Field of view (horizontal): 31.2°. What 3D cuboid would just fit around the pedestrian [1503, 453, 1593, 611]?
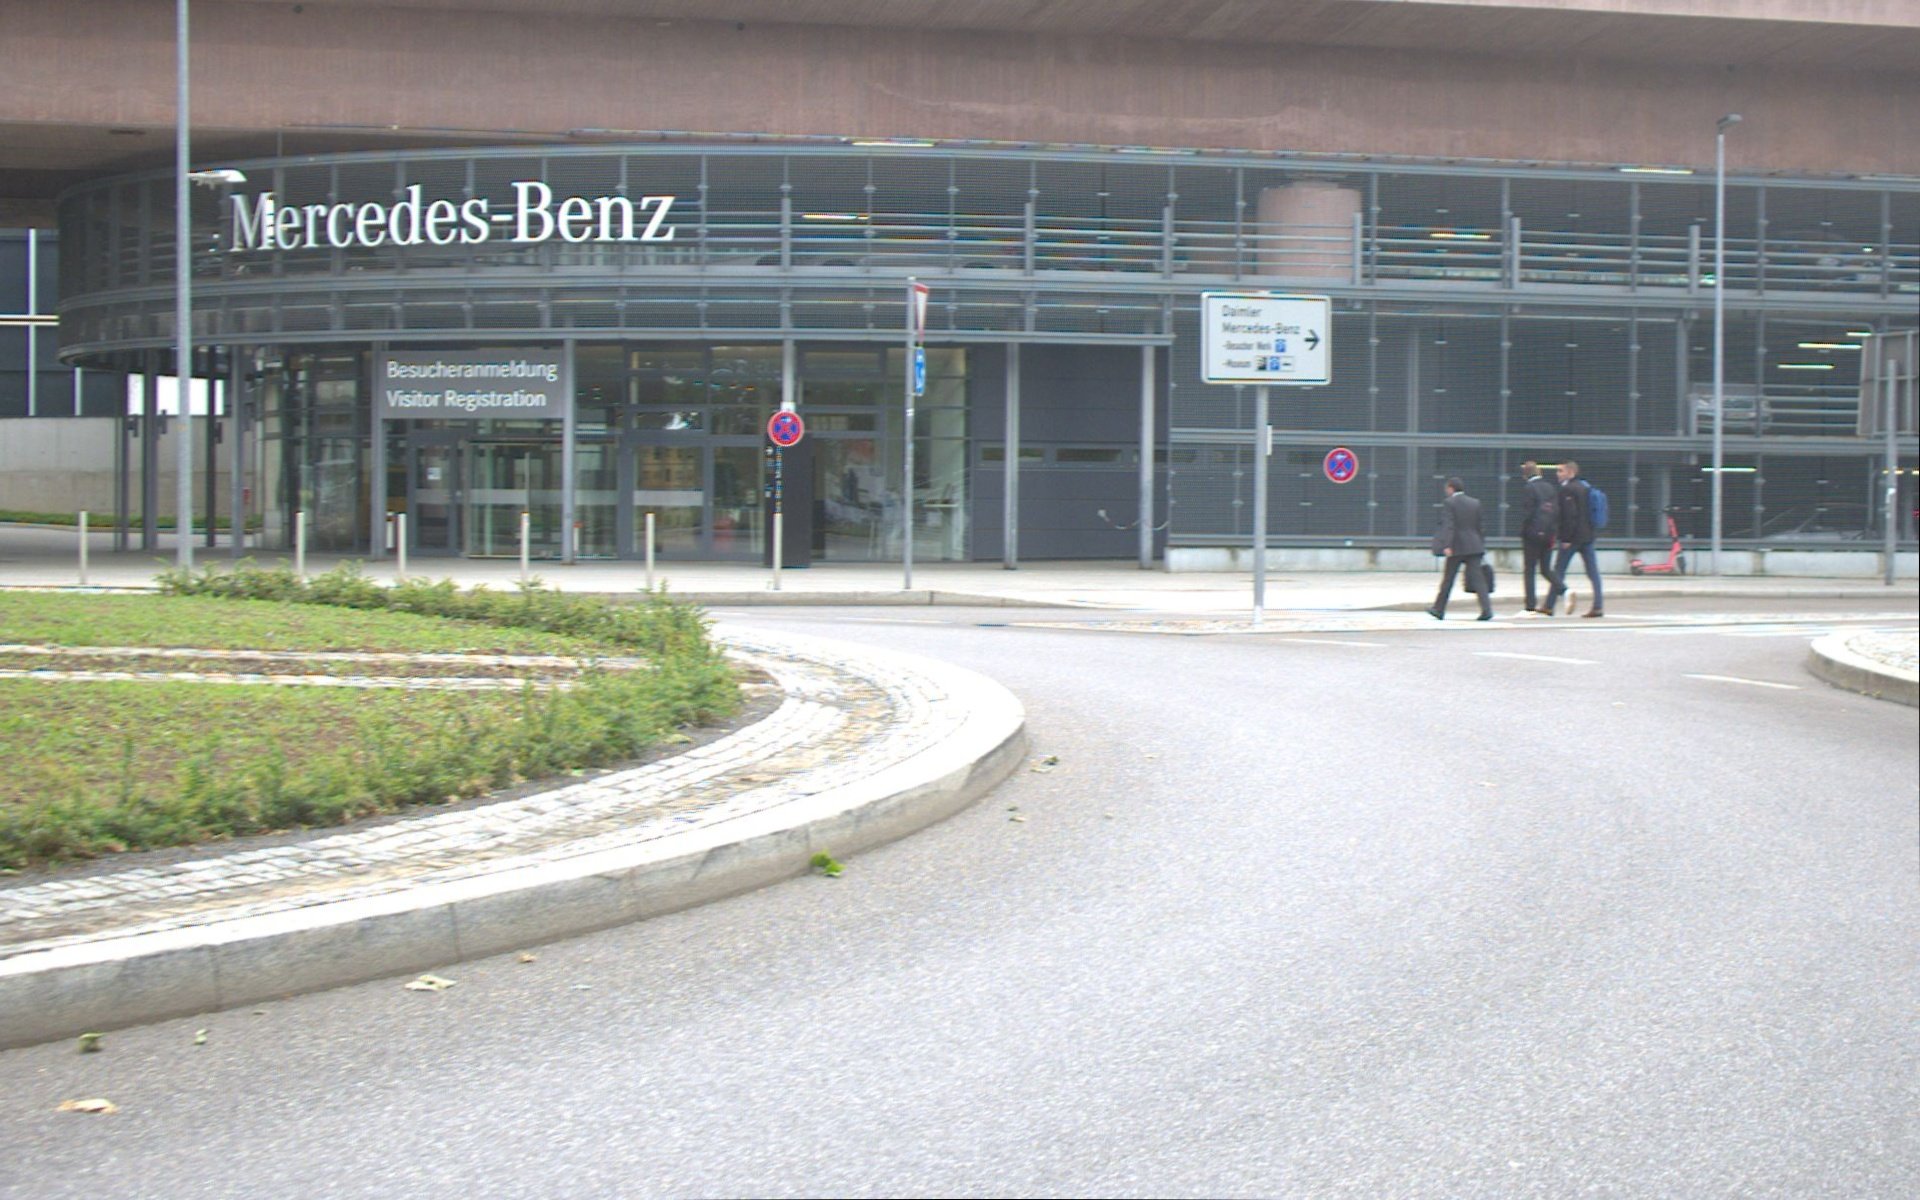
[{"bbox_3d":[6.614,-0.766,38.694,0.831,1.734,0.690,1,1,-2],"label":"pedestrian"}]

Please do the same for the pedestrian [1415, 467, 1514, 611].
[{"bbox_3d":[5.596,-0.680,38.133,0.830,1.565,0.690,1,1,-17],"label":"pedestrian"}]

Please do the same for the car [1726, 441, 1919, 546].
[{"bbox_3d":[16.819,-2.006,65.089,3.986,1.897,2.001,1,2,-13],"label":"car"}]

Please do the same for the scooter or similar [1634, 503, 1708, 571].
[{"bbox_3d":[12.696,-1.122,61.407,1.230,1.190,0.356,1,1,-14],"label":"scooter or similar"}]

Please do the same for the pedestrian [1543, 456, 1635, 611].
[{"bbox_3d":[7.186,-0.764,39.299,0.830,1.734,0.690,1,1,-6],"label":"pedestrian"}]
